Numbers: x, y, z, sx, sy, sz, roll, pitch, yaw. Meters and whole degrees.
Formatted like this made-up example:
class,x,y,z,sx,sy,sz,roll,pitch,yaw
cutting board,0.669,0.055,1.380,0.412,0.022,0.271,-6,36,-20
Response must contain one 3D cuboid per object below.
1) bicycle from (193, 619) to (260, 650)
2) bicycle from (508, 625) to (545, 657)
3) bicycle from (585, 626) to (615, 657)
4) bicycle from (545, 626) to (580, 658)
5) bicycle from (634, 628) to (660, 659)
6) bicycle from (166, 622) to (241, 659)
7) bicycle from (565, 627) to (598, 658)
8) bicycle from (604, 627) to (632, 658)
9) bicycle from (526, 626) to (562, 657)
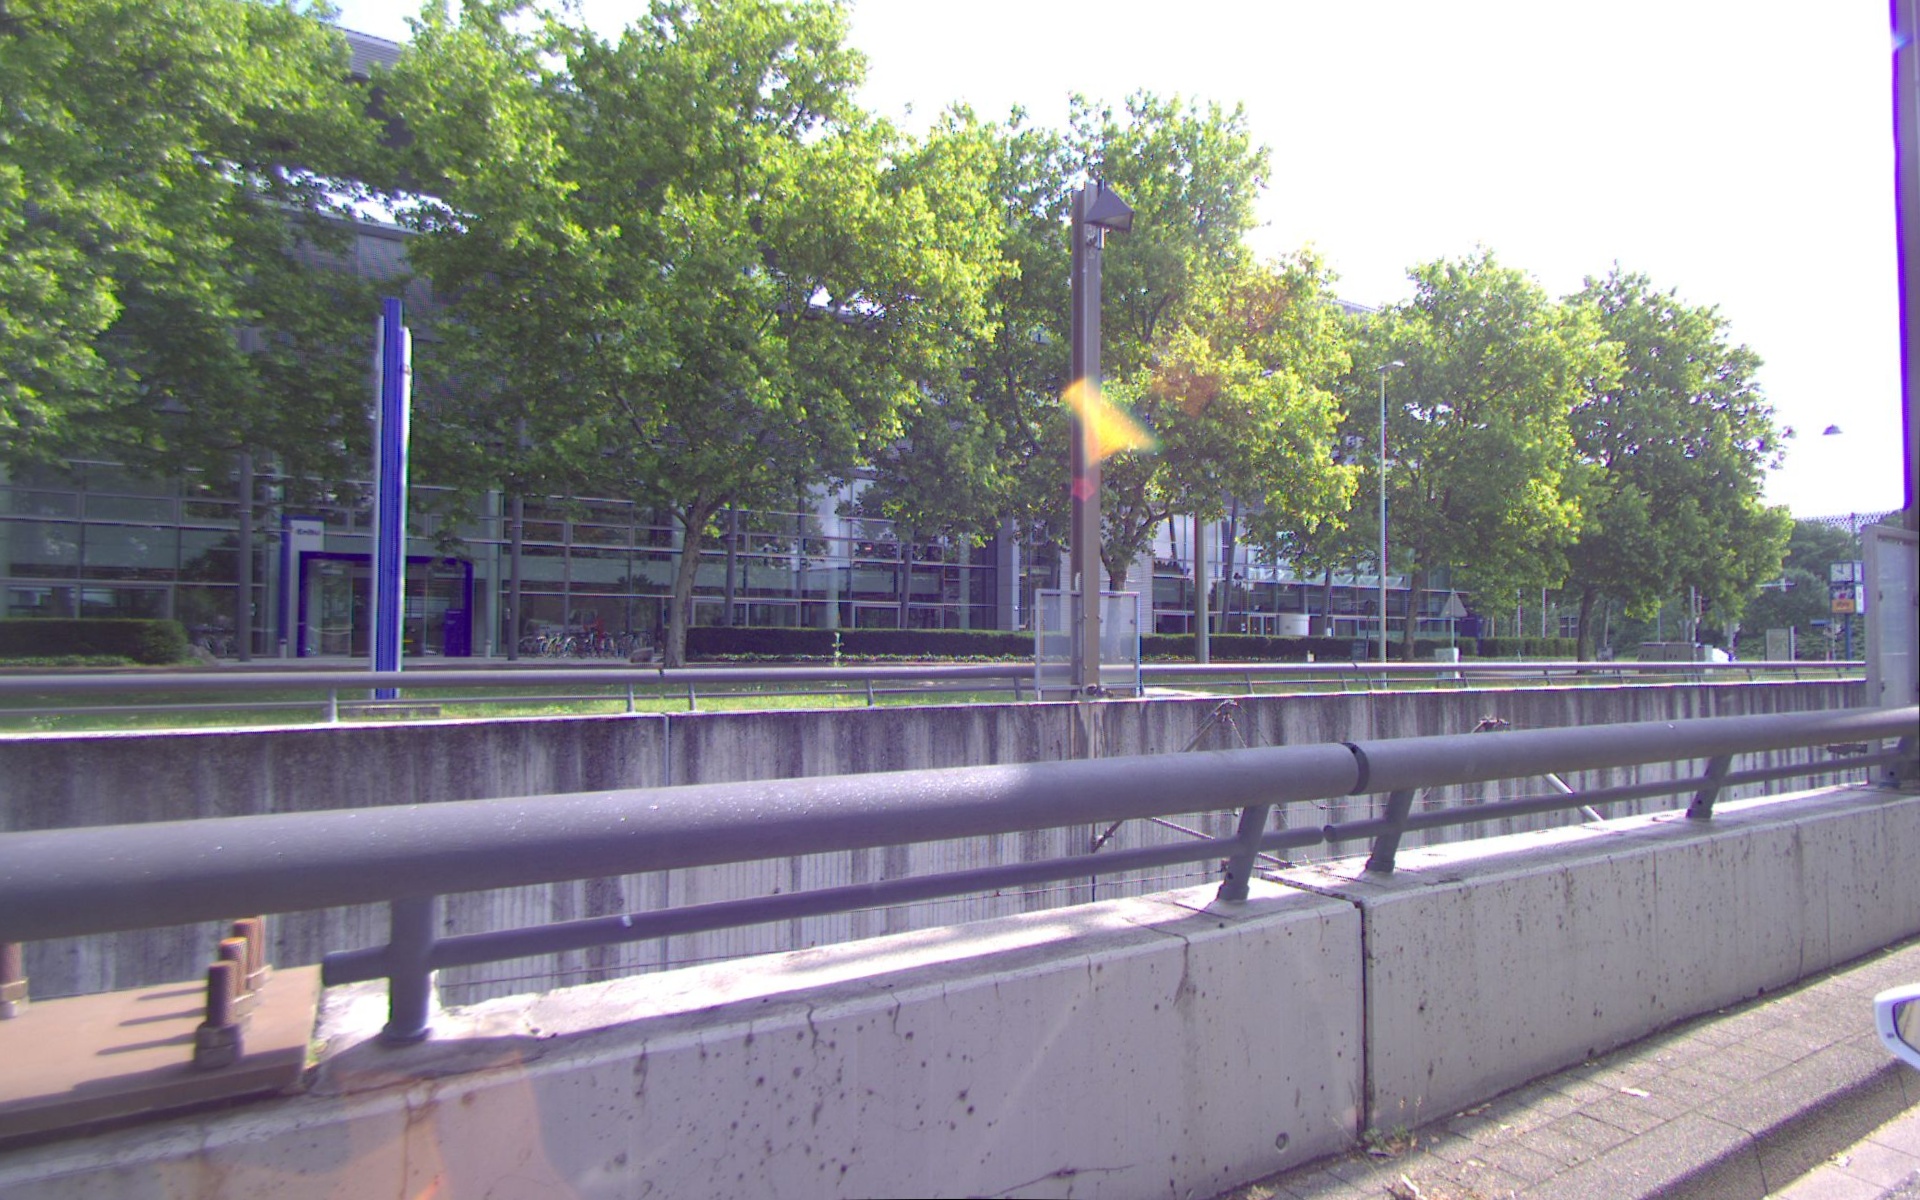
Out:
class,x,y,z,sx,sy,sz,roll,pitch,yaw
bicycle,-25.285,1.174,34.605,2.291,1.037,0.595,0,-1,17
bicycle,-16.788,1.584,38.941,0.624,1.165,2.270,1,-2,-5
bicycle,-13.854,1.599,38.675,0.624,1.165,2.269,1,-2,-8
bicycle,-15.408,1.622,38.960,0.624,1.165,2.270,1,-2,-5
bicycle,-12.180,1.675,39.126,0.782,1.165,2.267,1,-2,-13
bicycle,-25.423,1.358,33.750,2.291,1.193,0.814,0,-1,17
bicycle,-14.622,1.648,38.871,0.624,1.165,2.270,1,-2,-6
bicycle,-13.194,1.629,38.795,0.624,1.165,2.269,1,-2,-8
bicycle,-16.106,1.604,38.979,0.624,1.165,2.270,1,-2,-5
